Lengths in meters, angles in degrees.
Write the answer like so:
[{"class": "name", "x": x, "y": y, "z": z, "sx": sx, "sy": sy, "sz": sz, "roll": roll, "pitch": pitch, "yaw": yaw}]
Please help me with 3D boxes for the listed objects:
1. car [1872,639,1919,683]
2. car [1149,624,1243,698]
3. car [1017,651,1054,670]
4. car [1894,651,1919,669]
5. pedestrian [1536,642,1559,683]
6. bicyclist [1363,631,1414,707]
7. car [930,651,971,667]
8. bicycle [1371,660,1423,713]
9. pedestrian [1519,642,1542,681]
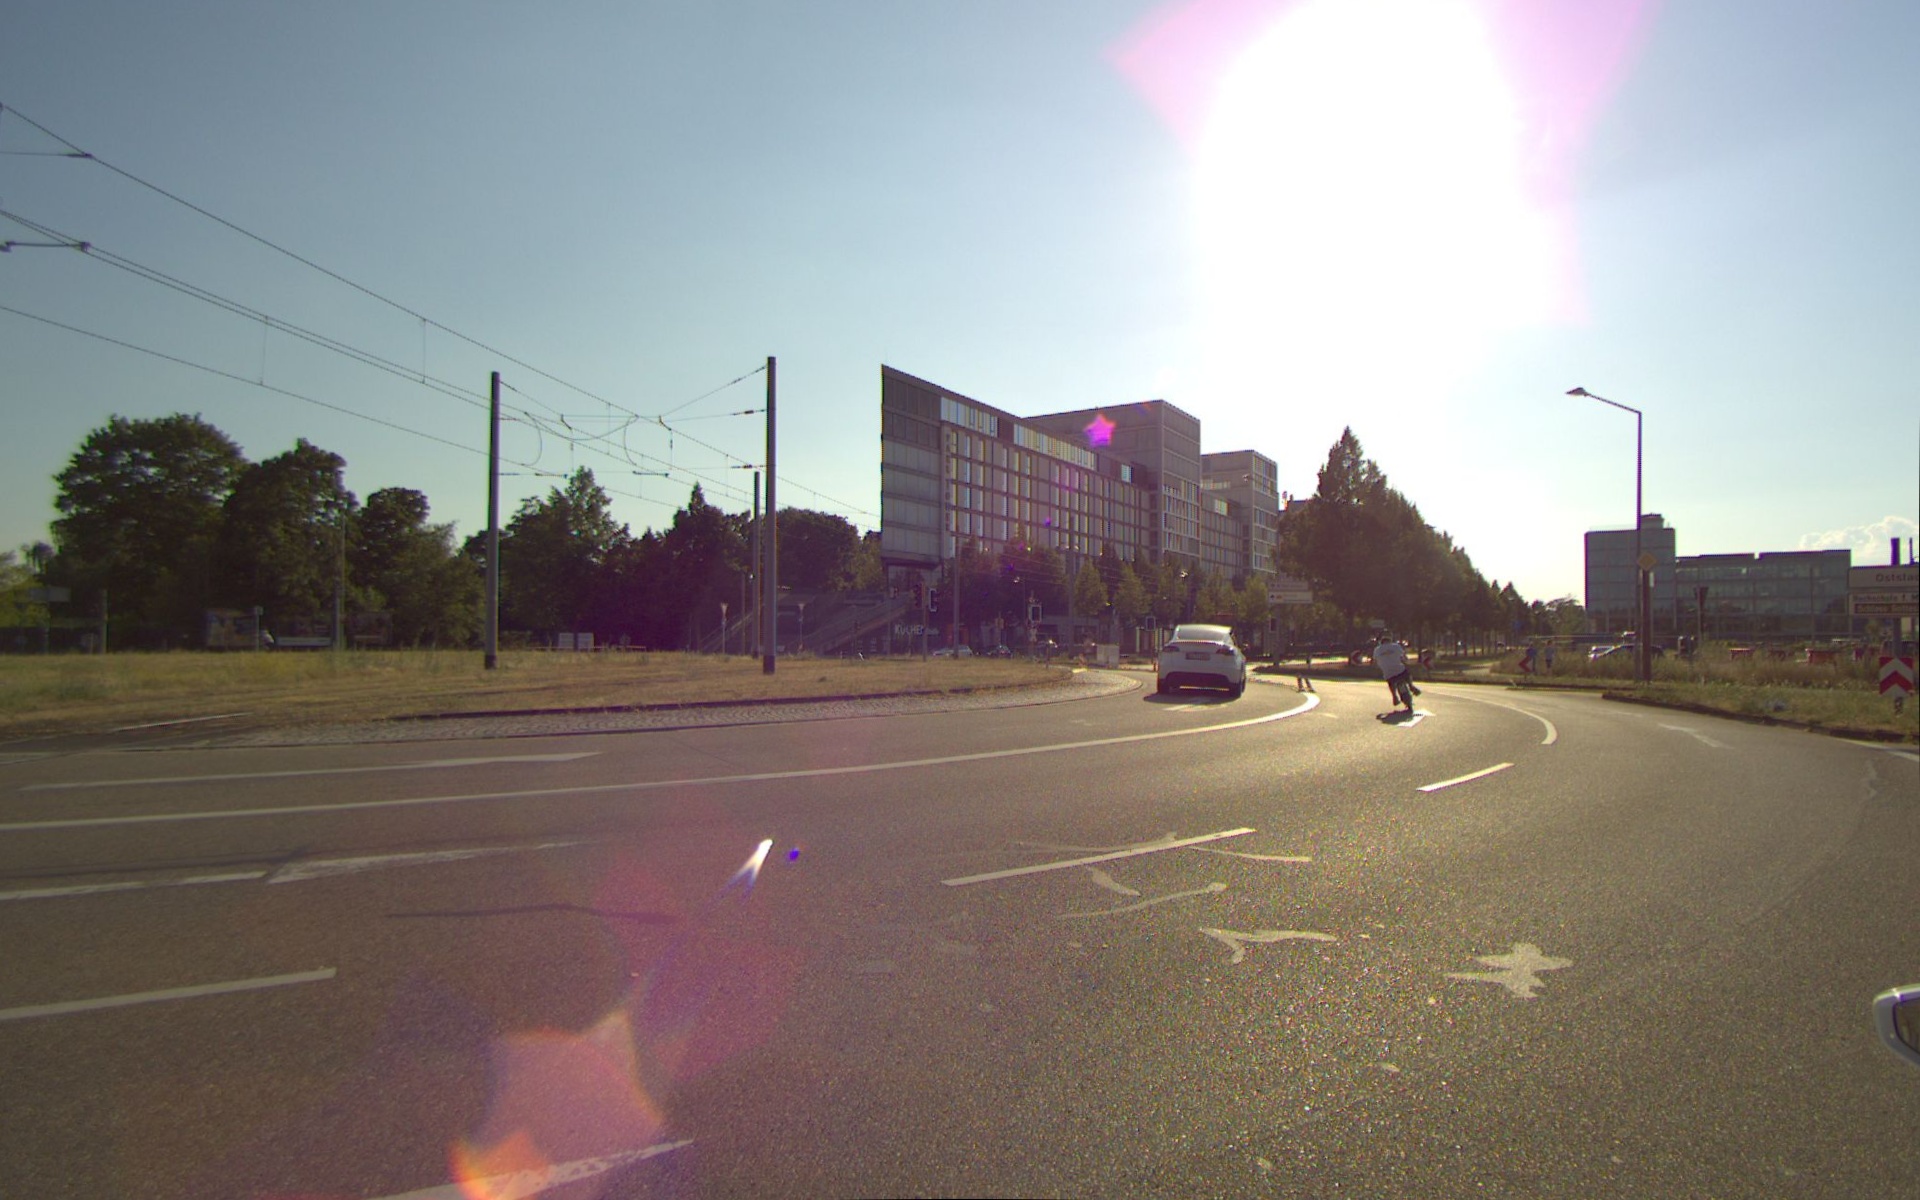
[{"class": "car", "x": 46.054, "y": 2.951, "z": 48.883, "sx": 5.275, "sy": 2.040, "sz": 1.975, "roll": 3, "pitch": -3, "yaw": -43}, {"class": "car", "x": 5.744, "y": 1.401, "z": 24.092, "sx": 1.960, "sy": 1.595, "sz": 4.002, "roll": 0, "pitch": -2, "yaw": 17}, {"class": "car", "x": 6.609, "y": 5.322, "z": 87.993, "sx": 1.542, "sy": 1.594, "sz": 3.319, "roll": -2, "pitch": -3, "yaw": 44}, {"class": "car", "x": 103.805, "y": 6.547, "z": 109.389, "sx": 2.115, "sy": 1.862, "sz": 4.353, "roll": 0, "pitch": -2, "yaw": 31}, {"class": "pedestrian", "x": 26.648, "y": 2.831, "z": 45.581, "sx": 0.749, "sy": 1.799, "sz": 0.768, "roll": -1, "pitch": -3, "yaw": 42}, {"class": "bicyclist", "x": 8.378, "y": 1.331, "z": 19.636, "sx": 0.855, "sy": 1.428, "sz": 0.627, "roll": 0, "pitch": -2, "yaw": 29}, {"class": "car", "x": -0.746, "y": 4.848, "z": 83.215, "sx": 1.632, "sy": 1.256, "sz": 3.492, "roll": -1, "pitch": -3, "yaw": 36}, {"class": "bicycle", "x": 8.541, "y": 1.665, "z": 19.588, "sx": 0.835, "sy": 0.941, "sz": 1.717, "roll": 0, "pitch": -2, "yaw": 27}, {"class": "pedestrian", "x": 25.619, "y": 2.755, "z": 45.113, "sx": 0.774, "sy": 1.731, "sz": 0.809, "roll": -1, "pitch": -3, "yaw": 39}]
